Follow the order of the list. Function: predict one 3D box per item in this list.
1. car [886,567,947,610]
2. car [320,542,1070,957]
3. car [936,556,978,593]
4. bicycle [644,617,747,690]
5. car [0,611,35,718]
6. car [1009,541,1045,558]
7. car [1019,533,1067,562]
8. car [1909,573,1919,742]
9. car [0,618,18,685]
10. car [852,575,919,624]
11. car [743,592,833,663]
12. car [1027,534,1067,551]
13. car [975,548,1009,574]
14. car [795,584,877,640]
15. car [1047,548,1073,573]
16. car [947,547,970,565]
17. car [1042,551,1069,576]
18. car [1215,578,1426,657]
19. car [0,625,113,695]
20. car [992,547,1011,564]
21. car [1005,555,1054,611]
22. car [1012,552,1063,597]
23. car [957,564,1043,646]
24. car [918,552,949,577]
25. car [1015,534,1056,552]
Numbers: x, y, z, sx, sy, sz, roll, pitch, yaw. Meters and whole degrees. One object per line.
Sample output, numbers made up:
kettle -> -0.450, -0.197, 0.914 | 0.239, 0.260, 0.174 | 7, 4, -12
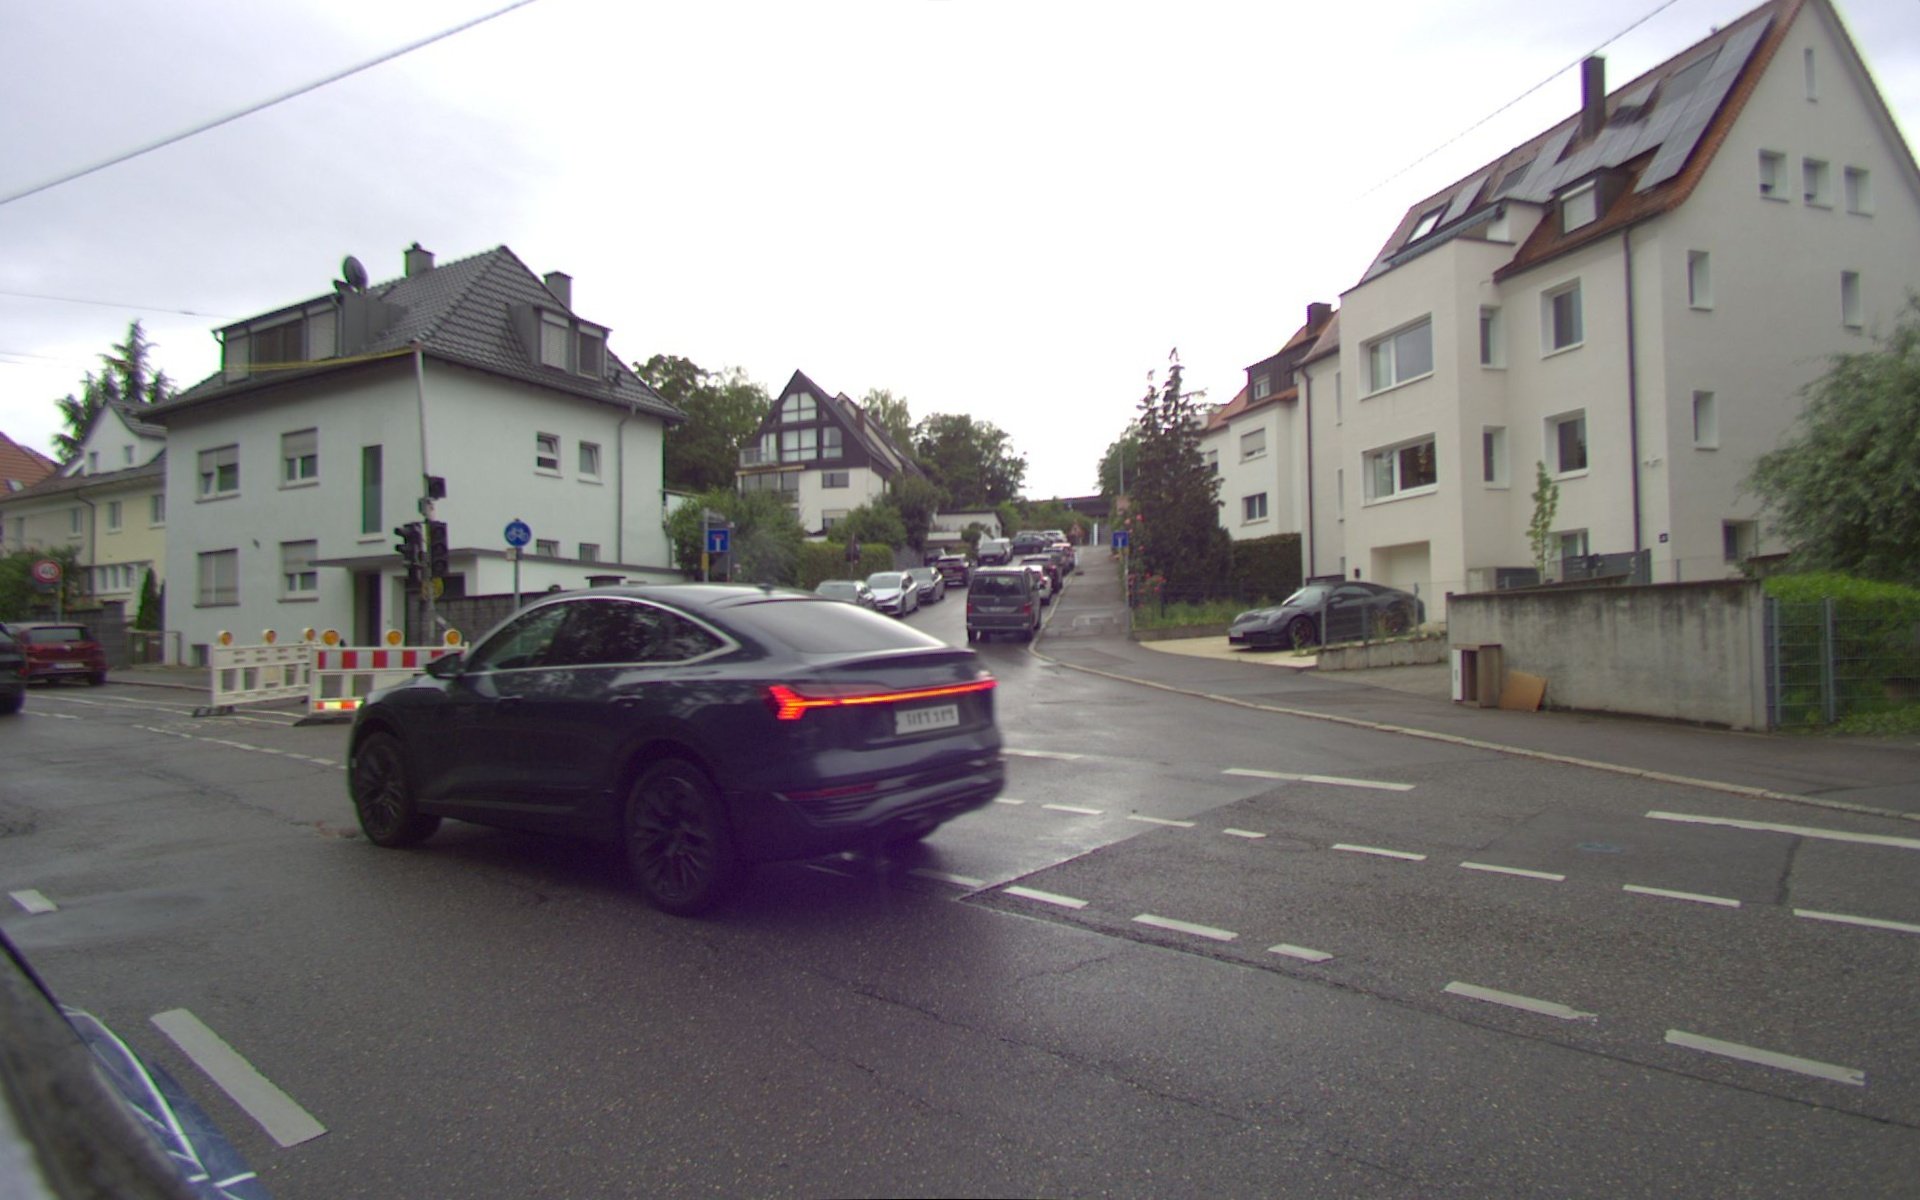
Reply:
car -> -1.803, -0.538, 42.947 | 1.903, 1.448, 4.100 | -1, 5, 7
car -> -1.853, 0.638, 6.293 | 4.677, 1.686, 1.976 | -1, 0, 35
car -> -0.110, -1.345, 52.452 | 1.623, 1.637, 3.992 | -1, 5, 8
bicycle -> -4.783, 0.940, 18.444 | 0.508, 1.249, 1.984 | 1, 0, 32
car -> -16.723, 1.046, 16.100 | 4.149, 1.634, 1.853 | -2, -2, 31
car -> 5.558, -4.172, 83.642 | 2.914, 1.328, 1.282 | -1, 0, 4
car -> 7.207, -4.534, 87.631 | 3.954, 2.028, 1.995 | -5, -1, 8
car -> 10.607, 0.428, 8.535 | 3.934, 1.497, 1.780 | -2, -1, -12
car -> -26.150, 1.327, 25.761 | 4.131, 1.653, 1.782 | -1, -1, 25
car -> -2.654, -0.071, 37.074 | 1.738, 1.481, 3.940 | -1, 4, 6
car -> -4.351, 0.635, 26.143 | 1.827, 1.473, 4.124 | -1, 3, -3
car -> 8.944, -5.867, 103.902 | 3.782, 1.529, 1.664 | -1, -1, 15
car -> 2.200, -2.648, 68.873 | 1.770, 1.531, 4.016 | -1, 0, 9
car -> -3.824, 0.331, 31.805 | 1.702, 1.397, 3.900 | -1, 4, 6
car -> 6.242, -2.427, 62.835 | 1.488, 1.373, 3.465 | -1, 0, 8
car -> -0.078, -3.235, 74.009 | 1.559, 1.220, 3.650 | -1, 3, 2
car -> 5.507, -2.124, 58.099 | 1.274, 1.325, 2.984 | -1, 3, 10
car -> 7.710, 0.343, 21.759 | 3.942, 1.290, 1.613 | -5, 1, -13
car -> -21.465, 1.343, 23.369 | 3.833, 1.443, 1.768 | -1, -1, 30
car -> 3.063, -3.302, 74.698 | 1.292, 1.206, 2.980 | -1, 3, 5
car -> 2.823, -0.739, 40.311 | 1.686, 1.843, 4.194 | -1, 6, 7
car -> 3.525, -1.177, 45.363 | 1.823, 1.699, 4.039 | -1, 5, 11
car -> 1.245, 0.061, 29.312 | 1.978, 2.028, 4.482 | -1, 4, 9
car -> -1.823, -2.396, 69.781 | 1.793, 1.566, 4.009 | -1, 0, 3
car -> 7.396, -5.558, 98.777 | 3.922, 1.528, 1.748 | -1, 0, 6
